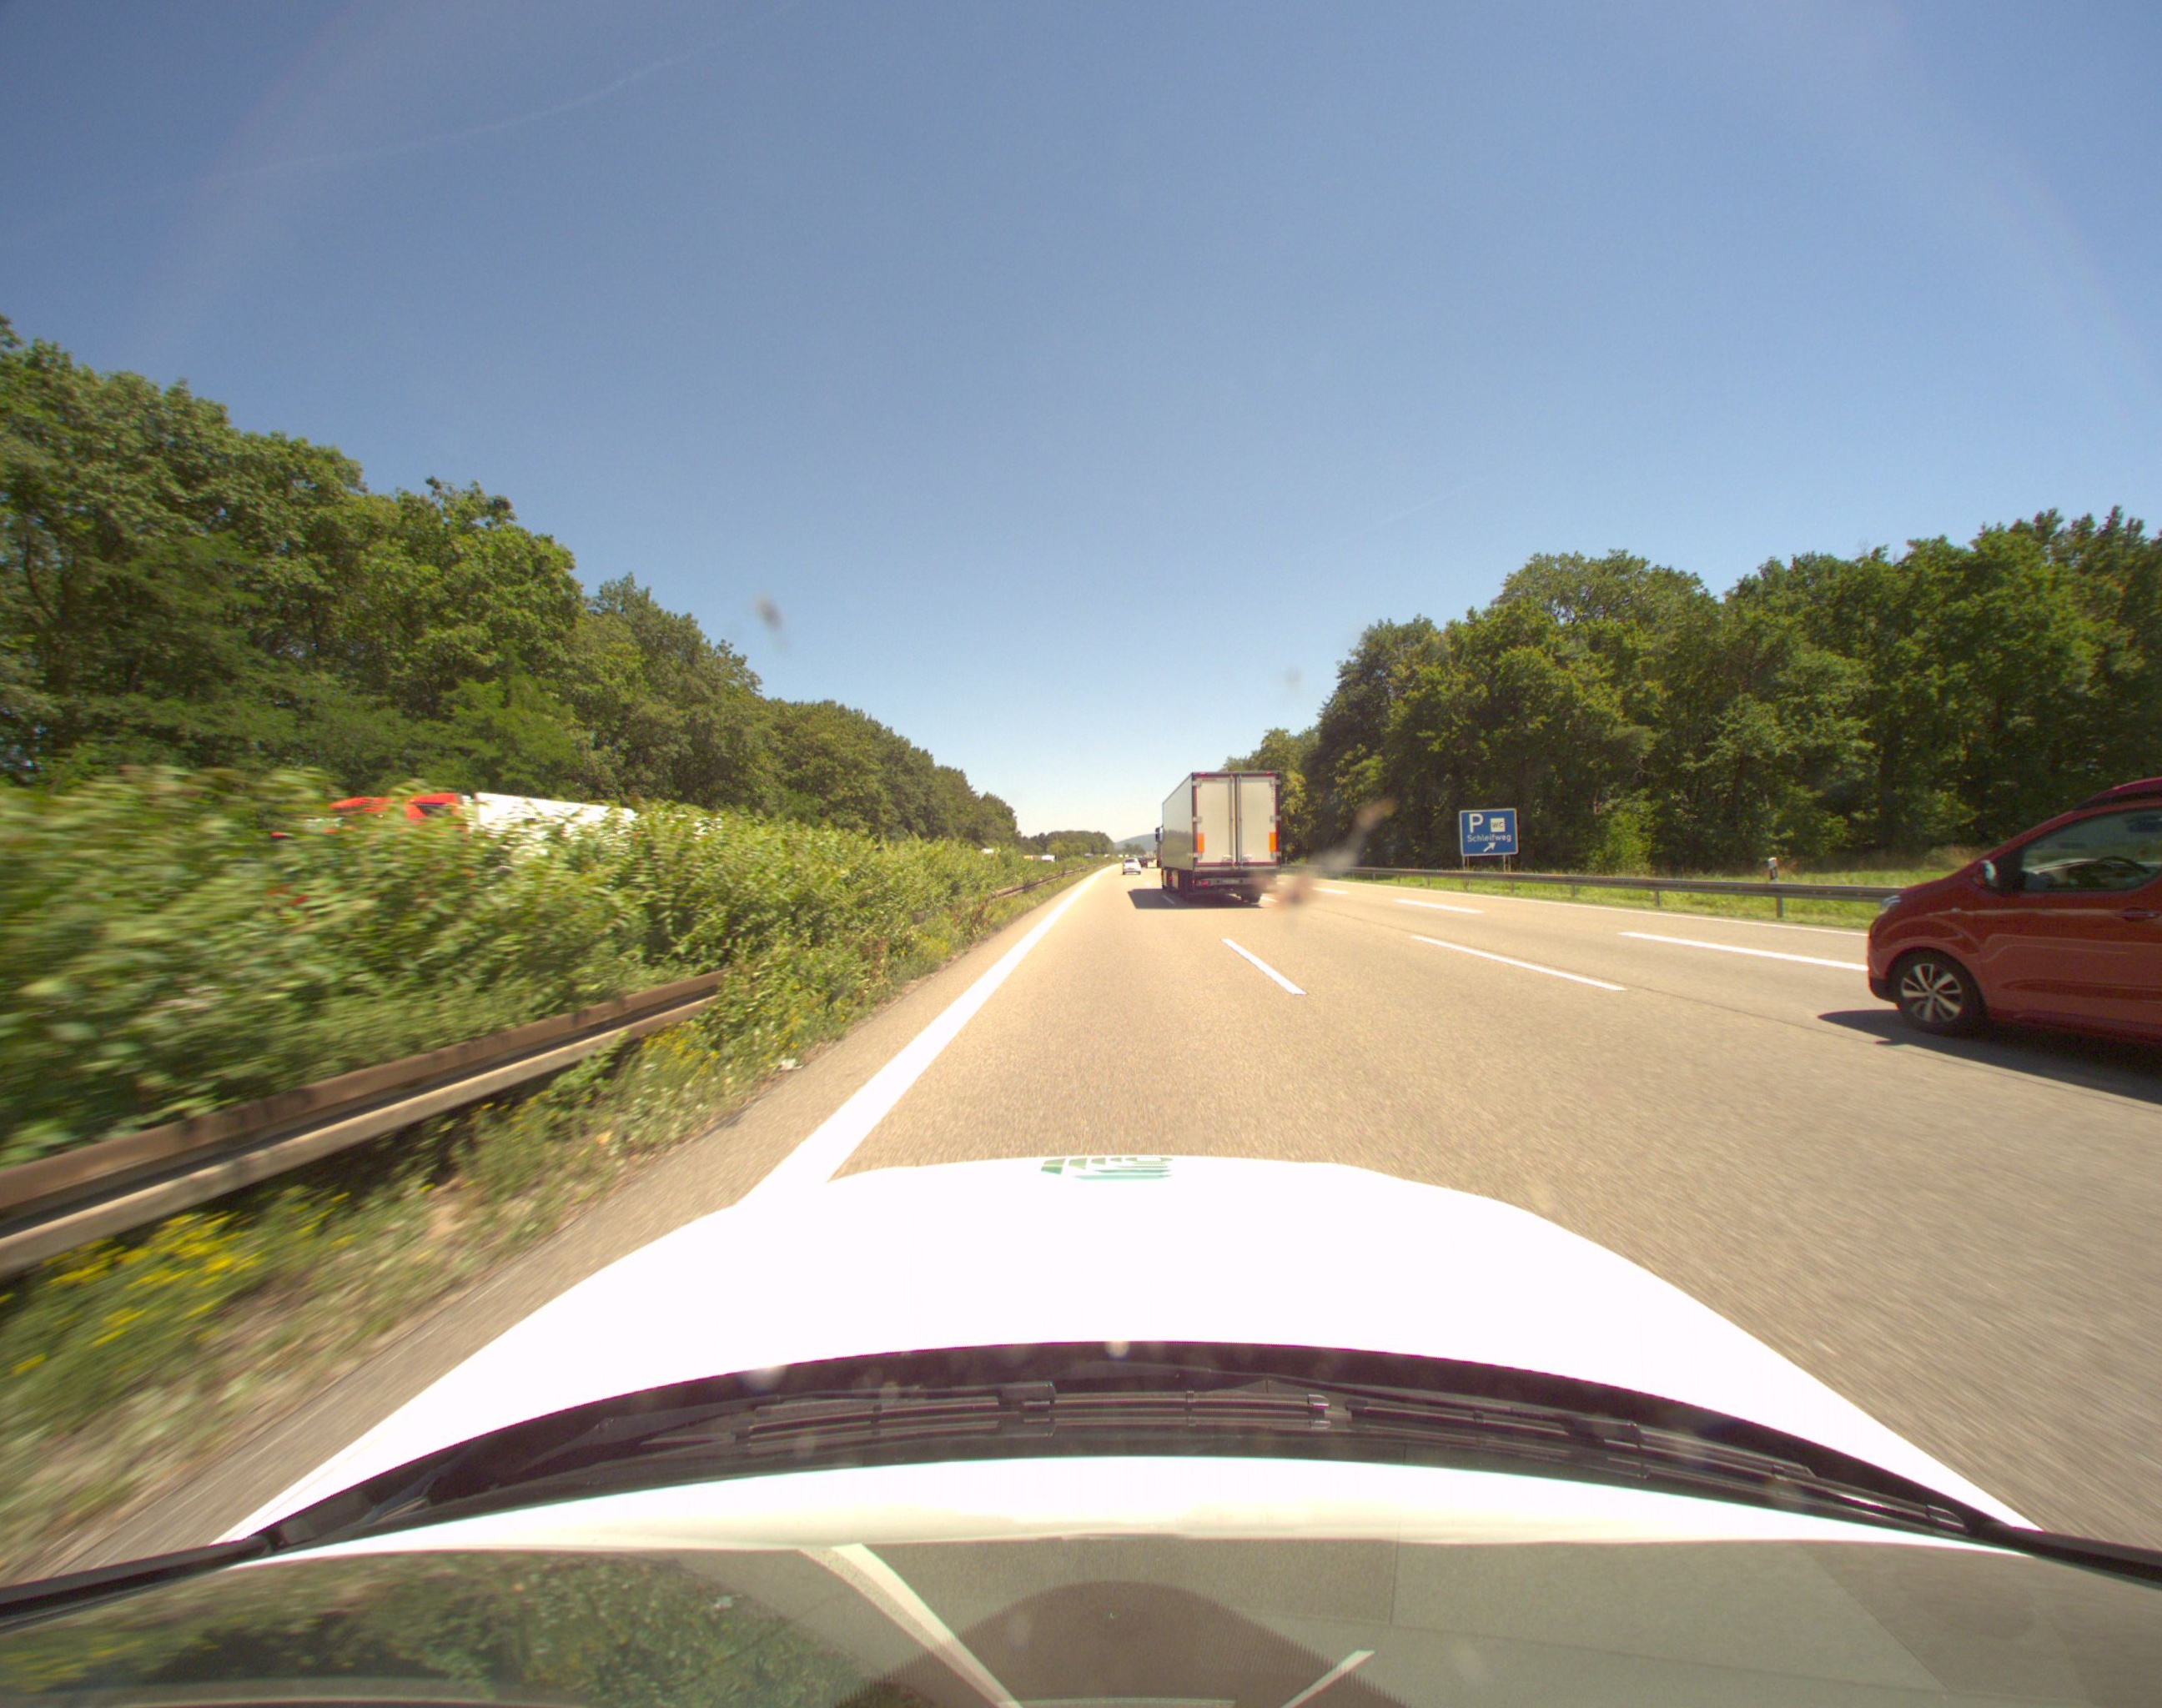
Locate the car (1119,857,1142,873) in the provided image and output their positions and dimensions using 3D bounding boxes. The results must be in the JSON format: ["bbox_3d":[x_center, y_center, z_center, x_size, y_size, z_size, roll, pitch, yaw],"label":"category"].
[{"bbox_3d":[4.625,1.018,76.073,1.806,1.405,3.315,-2,0,-1],"label":"car"}]

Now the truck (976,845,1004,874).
[{"bbox_3d":[-12.096,0.725,108.679,2.879,3.823,4.887,-2,0,2],"label":"truck"}]

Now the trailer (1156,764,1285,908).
[{"bbox_3d":[4.691,-0.546,30.215,3.210,4.143,12.361,-2,0,3],"label":"trailer"}]

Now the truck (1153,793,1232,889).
[{"bbox_3d":[5.130,-0.567,38.262,3.215,4.157,4.563,-2,0,3],"label":"truck"}]

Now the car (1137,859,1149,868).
[{"bbox_3d":[9.088,1.394,119.765,1.660,1.289,4.005,-2,0,5],"label":"car"}]

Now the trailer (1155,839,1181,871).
[{"bbox_3d":[13.165,0.130,124.752,3.169,4.627,12.058,-2,0,3],"label":"trailer"}]

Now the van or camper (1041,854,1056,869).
[{"bbox_3d":[-7.218,1.625,180.274,2.410,3.112,9.094,-2,0,3],"label":"van or camper"}]

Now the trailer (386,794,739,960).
[{"bbox_3d":[-15.585,0.575,26.684,2.910,4.050,12.920,-1,0,2],"label":"trailer"}]

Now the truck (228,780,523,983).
[{"bbox_3d":[-15.830,0.560,18.721,2.910,4.050,4.296,-1,0,1],"label":"truck"}]

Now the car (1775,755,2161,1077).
[{"bbox_3d":[7.646,0.379,5.203,1.849,2.003,5.524,-1,0,2],"label":"car"}]
